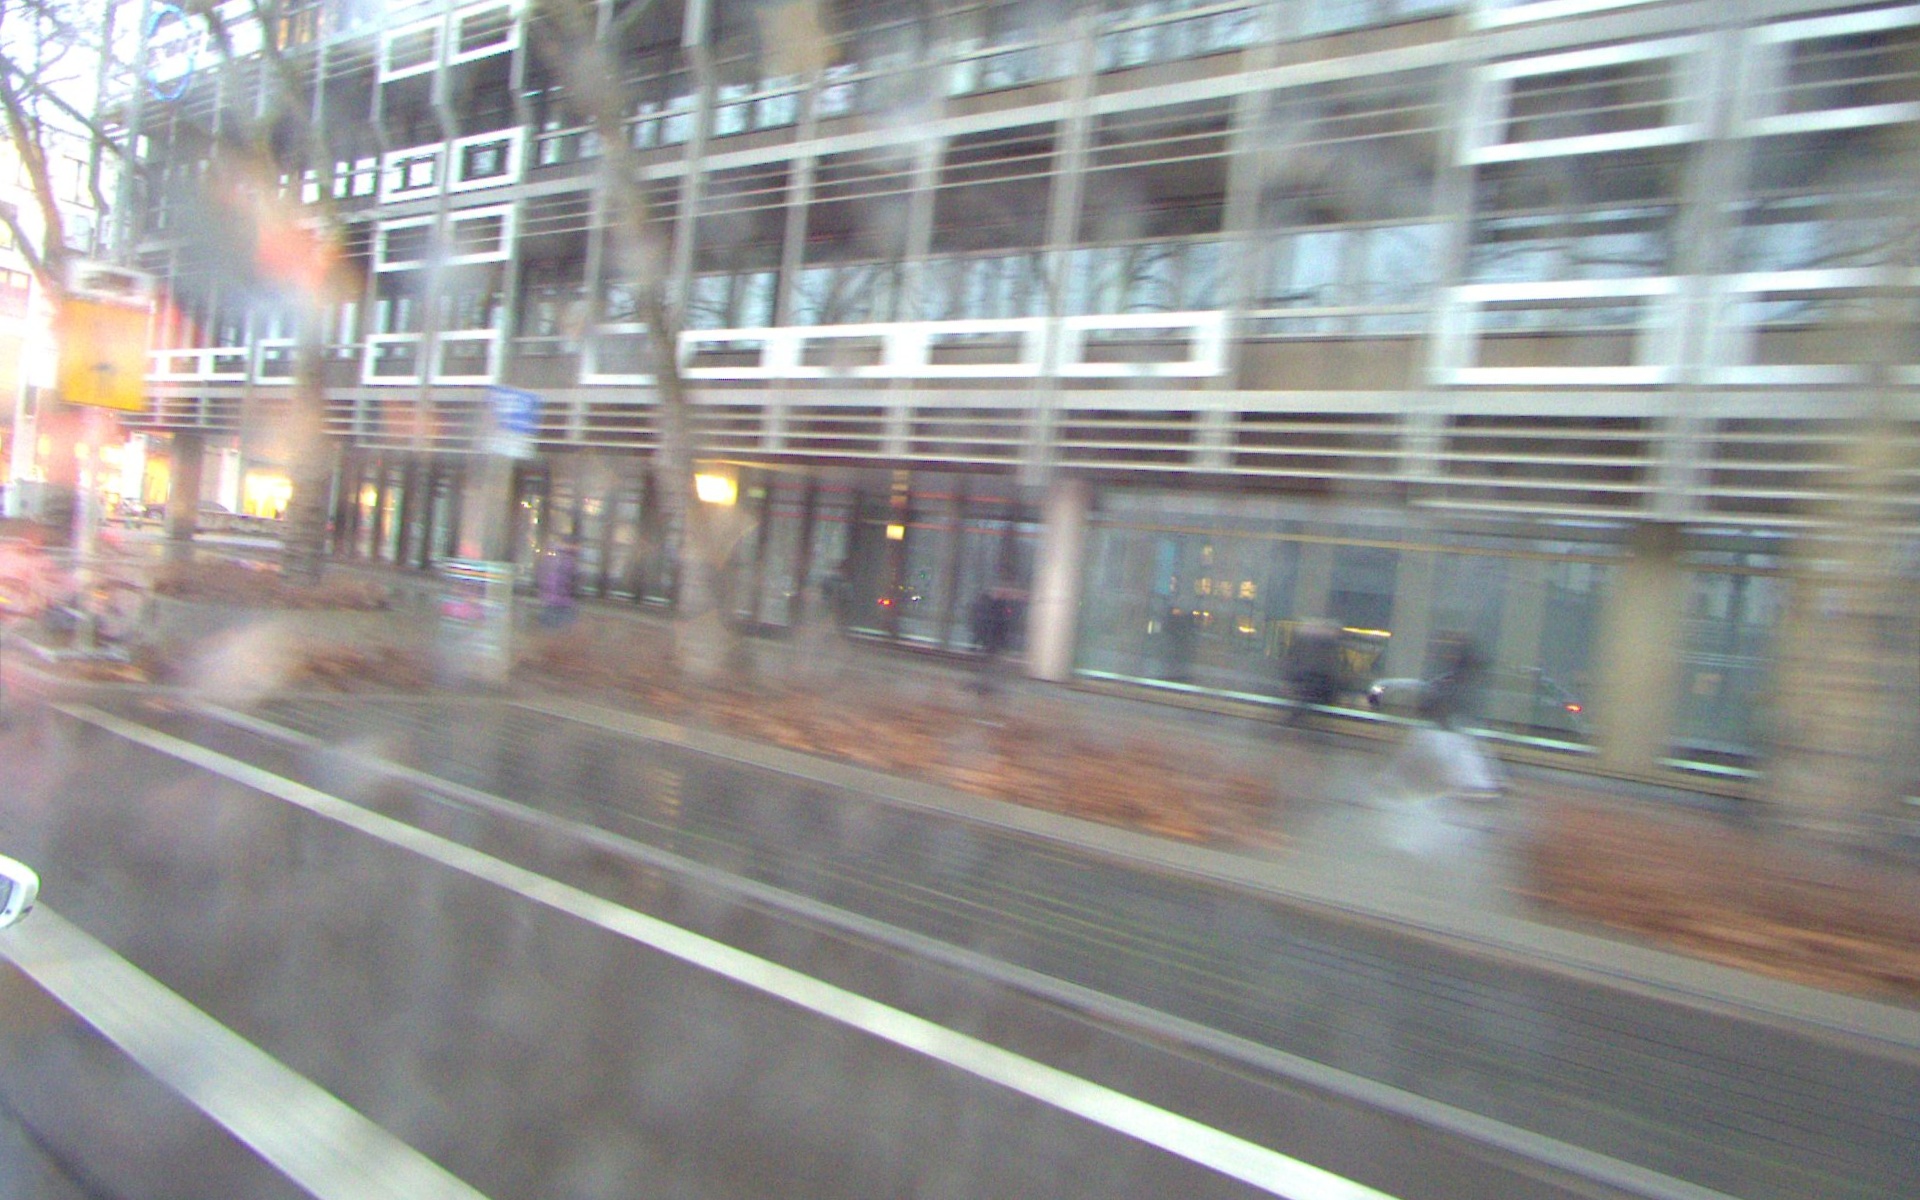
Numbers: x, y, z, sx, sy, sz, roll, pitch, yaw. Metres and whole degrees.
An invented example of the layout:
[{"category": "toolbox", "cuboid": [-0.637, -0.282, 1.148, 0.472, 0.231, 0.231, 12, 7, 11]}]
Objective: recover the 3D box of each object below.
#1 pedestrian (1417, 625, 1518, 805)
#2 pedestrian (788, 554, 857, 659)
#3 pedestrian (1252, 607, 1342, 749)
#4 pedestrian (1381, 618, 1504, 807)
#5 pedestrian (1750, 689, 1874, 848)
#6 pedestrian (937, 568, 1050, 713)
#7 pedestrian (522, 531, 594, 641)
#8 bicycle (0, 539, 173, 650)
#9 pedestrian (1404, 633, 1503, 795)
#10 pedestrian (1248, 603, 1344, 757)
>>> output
[{"category": "pedestrian", "cuboid": [5.131, 1.141, 10.176, 0.702, 1.689, 0.378, 7, 1, 33]}, {"category": "pedestrian", "cuboid": [-2.343, 0.118, 17.147, 0.767, 1.677, 0.616, 8, 1, 33]}, {"category": "pedestrian", "cuboid": [4.356, 0.991, 12.982, 0.828, 1.676, 0.640, 7, 1, 27]}, {"category": "pedestrian", "cuboid": [4.736, 1.078, 9.878, 0.859, 1.689, 0.500, 7, 1, 33]}, {"category": "pedestrian", "cuboid": [8.391, 1.632, 9.941, 0.703, 1.407, 0.563, 7, 1, 31]}, {"category": "pedestrian", "cuboid": [0.395, 0.470, 11.732, 0.824, 1.543, 0.864, 7, 1, 33]}, {"category": "pedestrian", "cuboid": [-6.126, -0.207, 15.345, 0.605, 1.564, 0.648, 7, 1, 33]}, {"category": "bicycle", "cuboid": [-8.867, -0.048, 9.777, 0.607, 0.986, 1.789, 7, 2, 28]}, {"category": "pedestrian", "cuboid": [5.251, 1.195, 10.699, 0.733, 1.584, 0.484, 7, 1, 31]}, {"category": "pedestrian", "cuboid": [4.136, 0.965, 12.375, 0.828, 1.740, 0.659, 7, 1, 27]}]
